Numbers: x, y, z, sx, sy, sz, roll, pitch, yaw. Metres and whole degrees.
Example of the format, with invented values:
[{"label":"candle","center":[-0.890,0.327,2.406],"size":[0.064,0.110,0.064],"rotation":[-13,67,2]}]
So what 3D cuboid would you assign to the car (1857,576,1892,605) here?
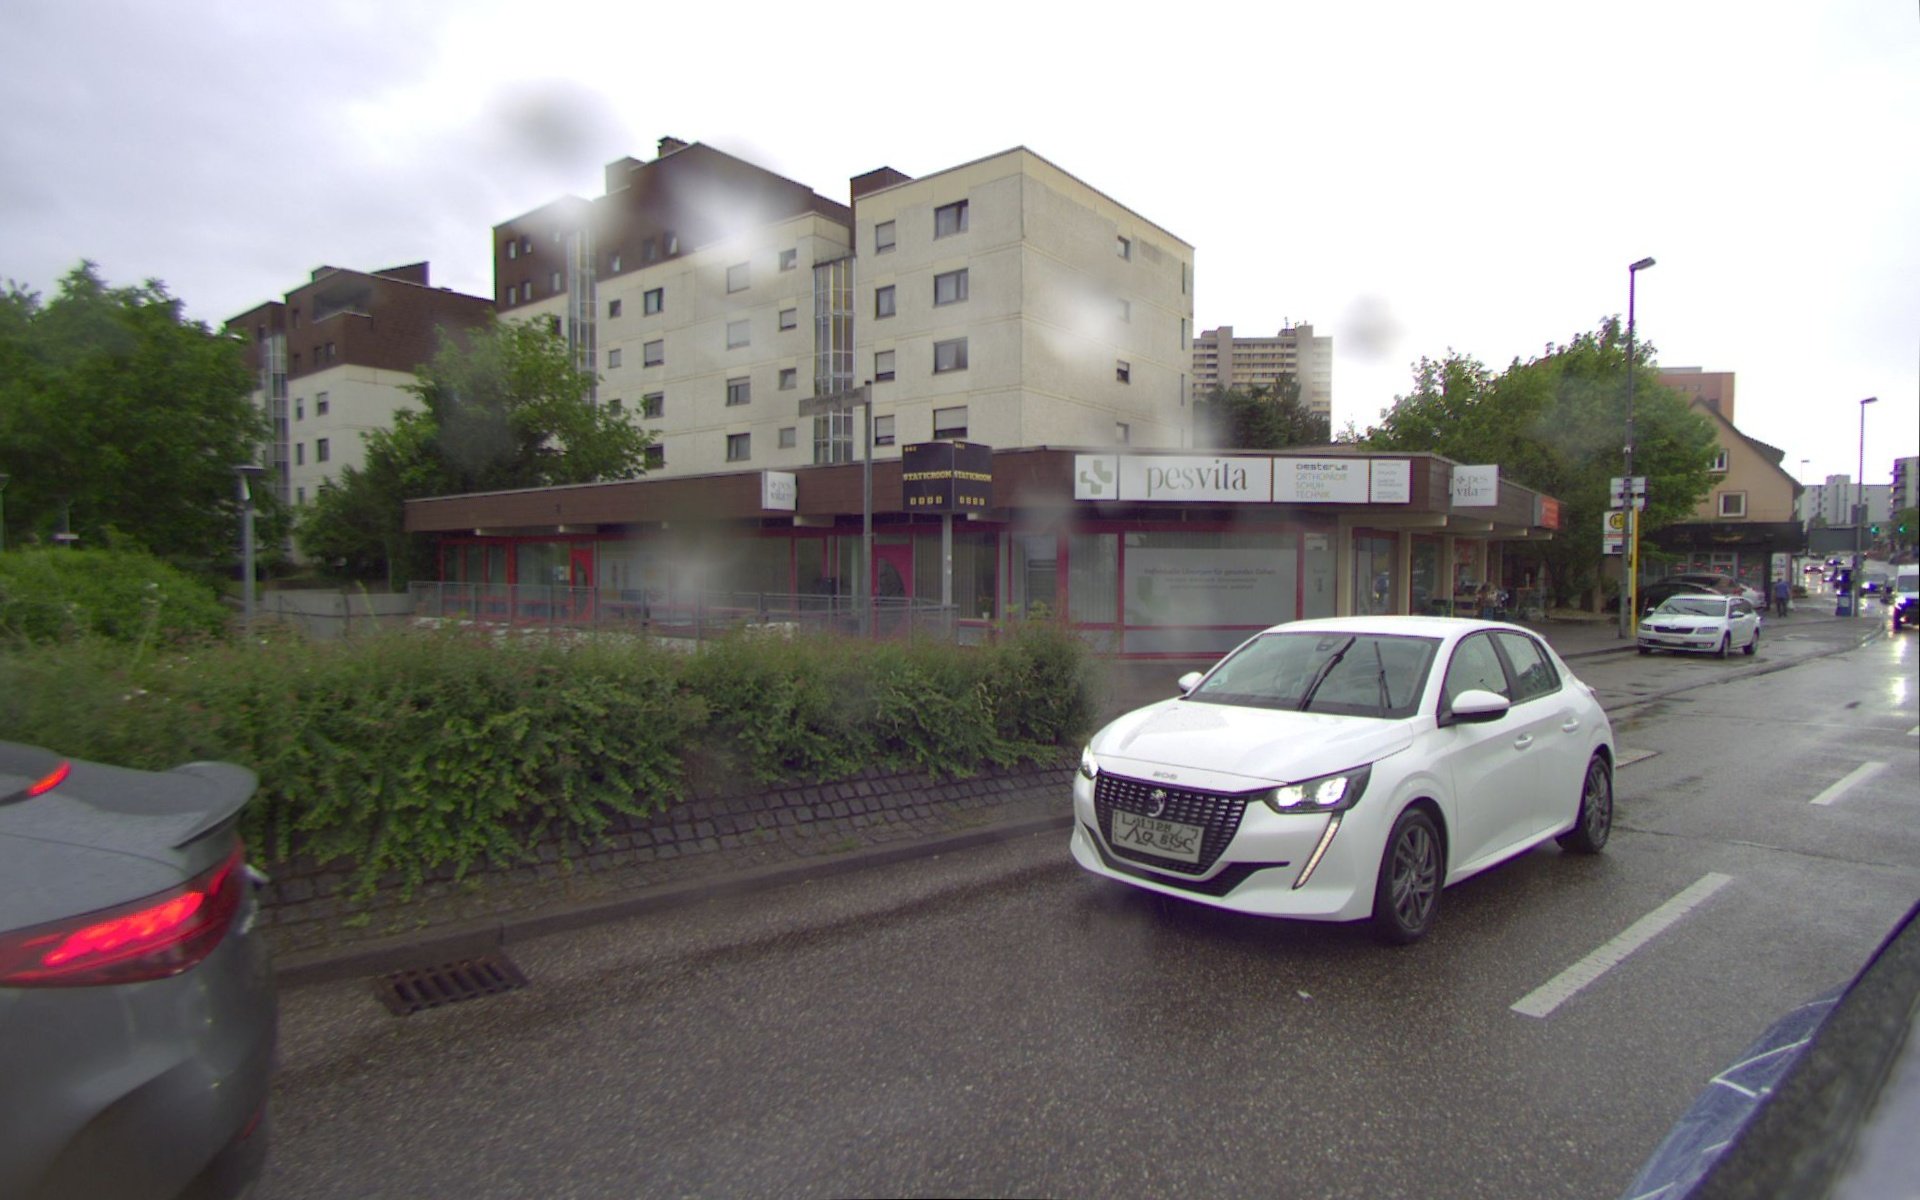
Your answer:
[{"label":"car","center":[64.603,-0.683,71.507],"size":[1.716,2.025,3.775],"rotation":[1,1,44]}]

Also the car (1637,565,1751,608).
[{"label":"car","center":[32.427,-0.618,44.751],"size":[3.981,1.801,1.857],"rotation":[2,1,39]}]

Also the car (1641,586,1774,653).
[{"label":"car","center":[18.335,0.429,24.761],"size":[3.929,1.509,1.787],"rotation":[0,1,-40]}]

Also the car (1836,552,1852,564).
[{"label":"car","center":[138.590,-6.575,158.651],"size":[1.657,1.654,3.754],"rotation":[1,1,37]}]

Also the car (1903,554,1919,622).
[{"label":"car","center":[38.739,-0.487,39.672],"size":[6.021,2.549,2.194],"rotation":[-1,1,-43]}]

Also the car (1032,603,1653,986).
[{"label":"car","center":[2.436,0.758,5.878],"size":[4.043,1.433,1.665],"rotation":[0,1,-41]}]

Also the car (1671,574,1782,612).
[{"label":"car","center":[35.275,-0.337,46.639],"size":[3.981,1.614,1.857],"rotation":[2,0,39]}]

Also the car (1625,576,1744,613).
[{"label":"car","center":[30.623,-0.253,42.821],"size":[3.981,1.445,1.857],"rotation":[2,1,39]}]

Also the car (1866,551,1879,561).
[{"label":"car","center":[165.221,-7.937,183.292],"size":[1.659,1.654,3.749],"rotation":[1,1,41]}]

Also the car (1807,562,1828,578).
[{"label":"car","center":[111.387,-3.911,131.468],"size":[1.992,2.039,3.939],"rotation":[0,1,42]}]

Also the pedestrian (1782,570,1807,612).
[{"label":"pedestrian","center":[36.901,-0.401,44.751],"size":[0.740,1.804,0.749],"rotation":[0,0,-44]}]

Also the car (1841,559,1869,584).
[{"label":"car","center":[77.407,-2.442,87.584],"size":[1.714,2.025,3.780],"rotation":[1,1,41]}]

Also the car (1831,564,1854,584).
[{"label":"car","center":[91.898,-2.678,105.406],"size":[1.714,2.025,3.780],"rotation":[1,1,40]}]

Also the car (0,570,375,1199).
[{"label":"car","center":[-3.382,0.683,0.868],"size":[4.724,1.485,1.840],"rotation":[1,-1,-41]}]
